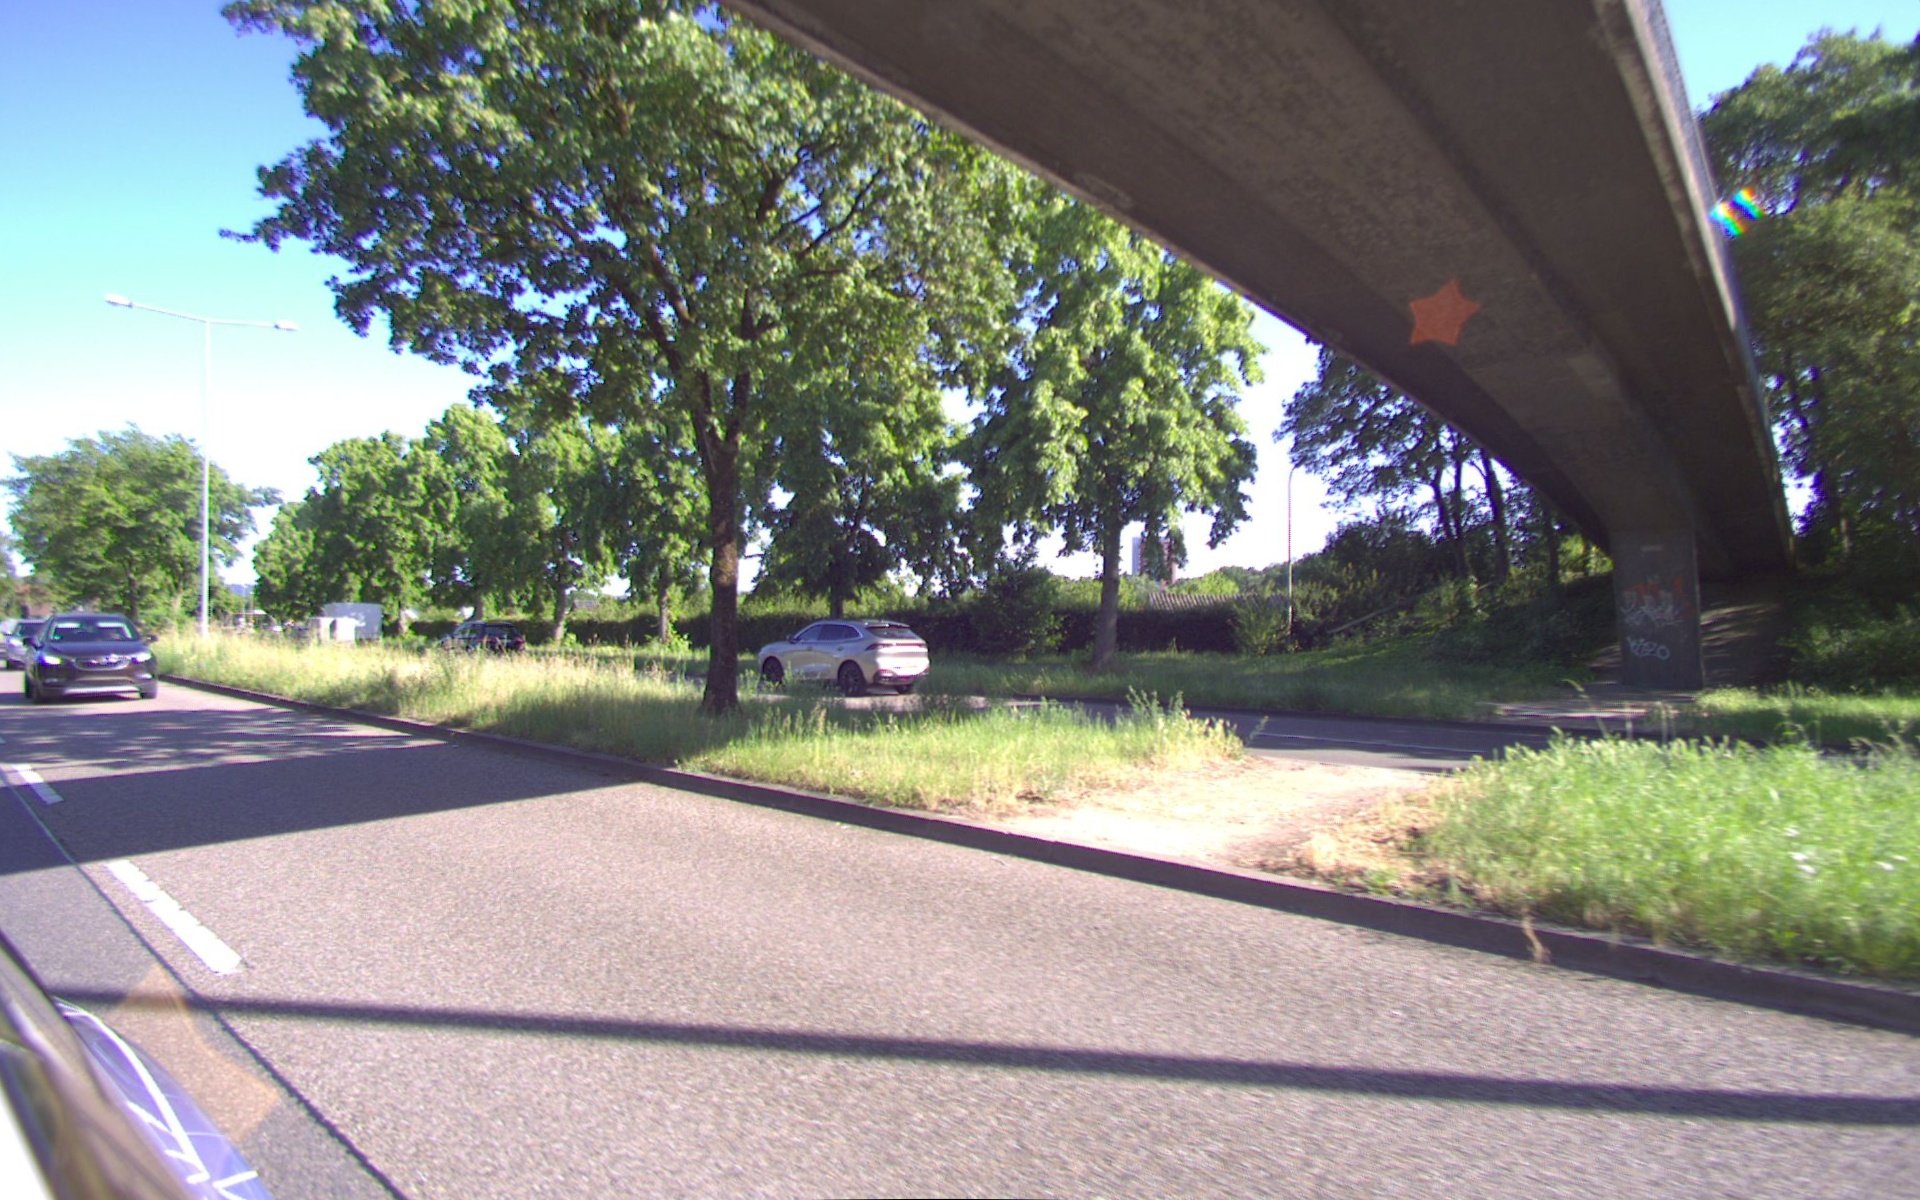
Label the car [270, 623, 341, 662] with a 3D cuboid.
[{"bbox_3d":[-28.031,1.773,43.312,4.026,1.594,1.676,-1,-2,44],"label":"car"}]

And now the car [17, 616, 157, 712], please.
[{"bbox_3d":[-16.968,1.135,19.585,1.785,1.627,4.518,1,-1,-44],"label":"car"}]

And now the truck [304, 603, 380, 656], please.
[{"bbox_3d":[-31.738,1.542,51.895,2.146,2.532,5.747,4,-4,-43],"label":"truck"}]

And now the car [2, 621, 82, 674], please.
[{"bbox_3d":[-29.551,1.485,32.574,1.797,1.574,4.651,0,-2,-43],"label":"car"}]

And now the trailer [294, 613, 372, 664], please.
[{"bbox_3d":[-25.132,1.520,40.505,4.282,1.925,1.545,-2,-2,43],"label":"trailer"}]

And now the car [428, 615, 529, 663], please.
[{"bbox_3d":[-17.533,1.406,36.745,4.578,1.632,1.731,-2,-2,43],"label":"car"}]

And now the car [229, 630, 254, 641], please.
[{"bbox_3d":[-101.861,5.009,143.484,1.668,1.447,4.956,2,-3,-22],"label":"car"}]

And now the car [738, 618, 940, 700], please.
[{"bbox_3d":[-2.829,1.279,22.845,4.899,1.659,1.713,-1,-4,42],"label":"car"}]
